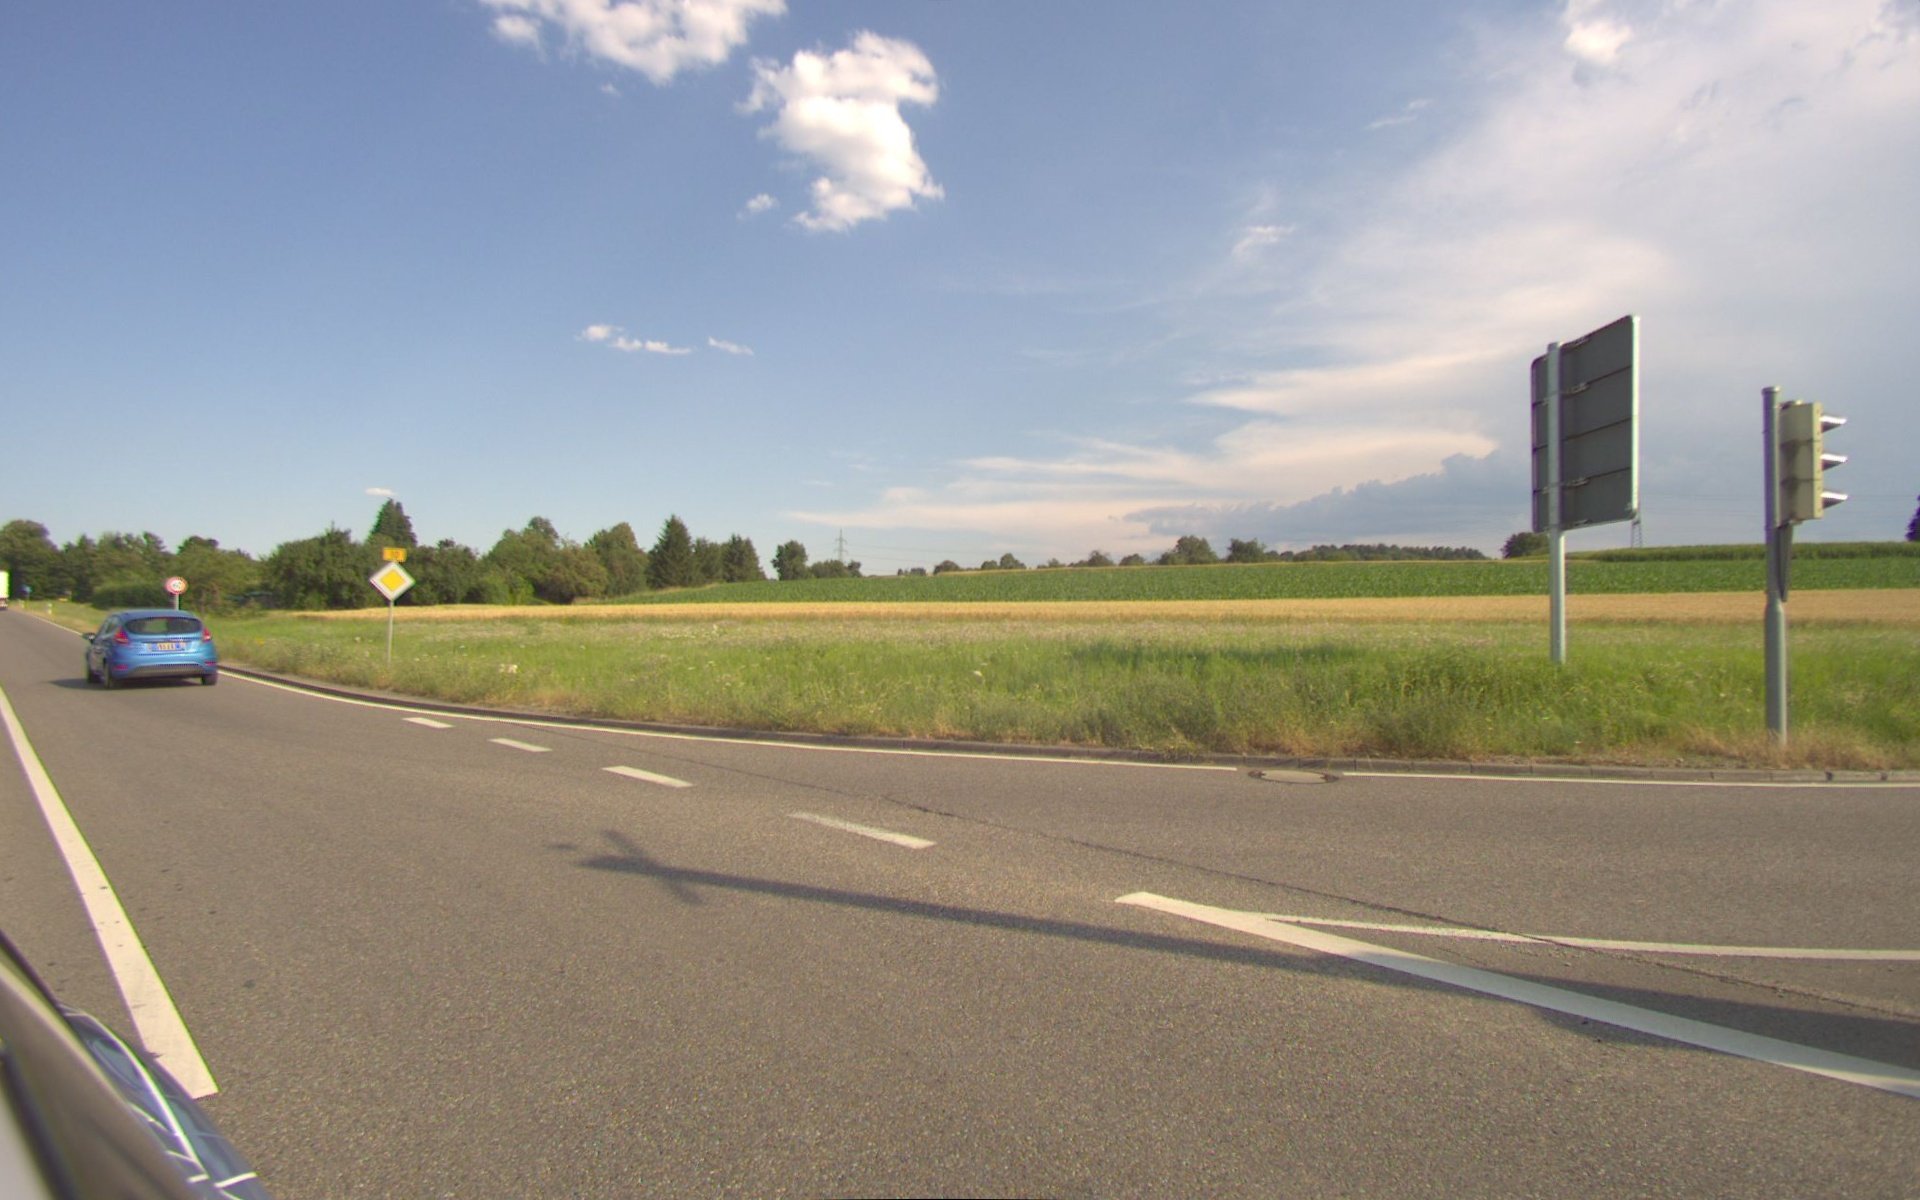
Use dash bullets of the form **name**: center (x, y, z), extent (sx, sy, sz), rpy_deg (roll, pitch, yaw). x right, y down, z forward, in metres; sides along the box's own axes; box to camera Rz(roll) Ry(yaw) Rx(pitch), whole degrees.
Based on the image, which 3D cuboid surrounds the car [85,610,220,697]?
- **car**: center (-15.784, 0.989, 19.710), extent (1.738, 1.512, 4.004), rpy_deg (1, -2, -43)

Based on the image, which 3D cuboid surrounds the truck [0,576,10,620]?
- **truck**: center (-102.449, -0.147, 106.406), extent (9.492, 4.531, 3.402), rpy_deg (0, 0, 45)
